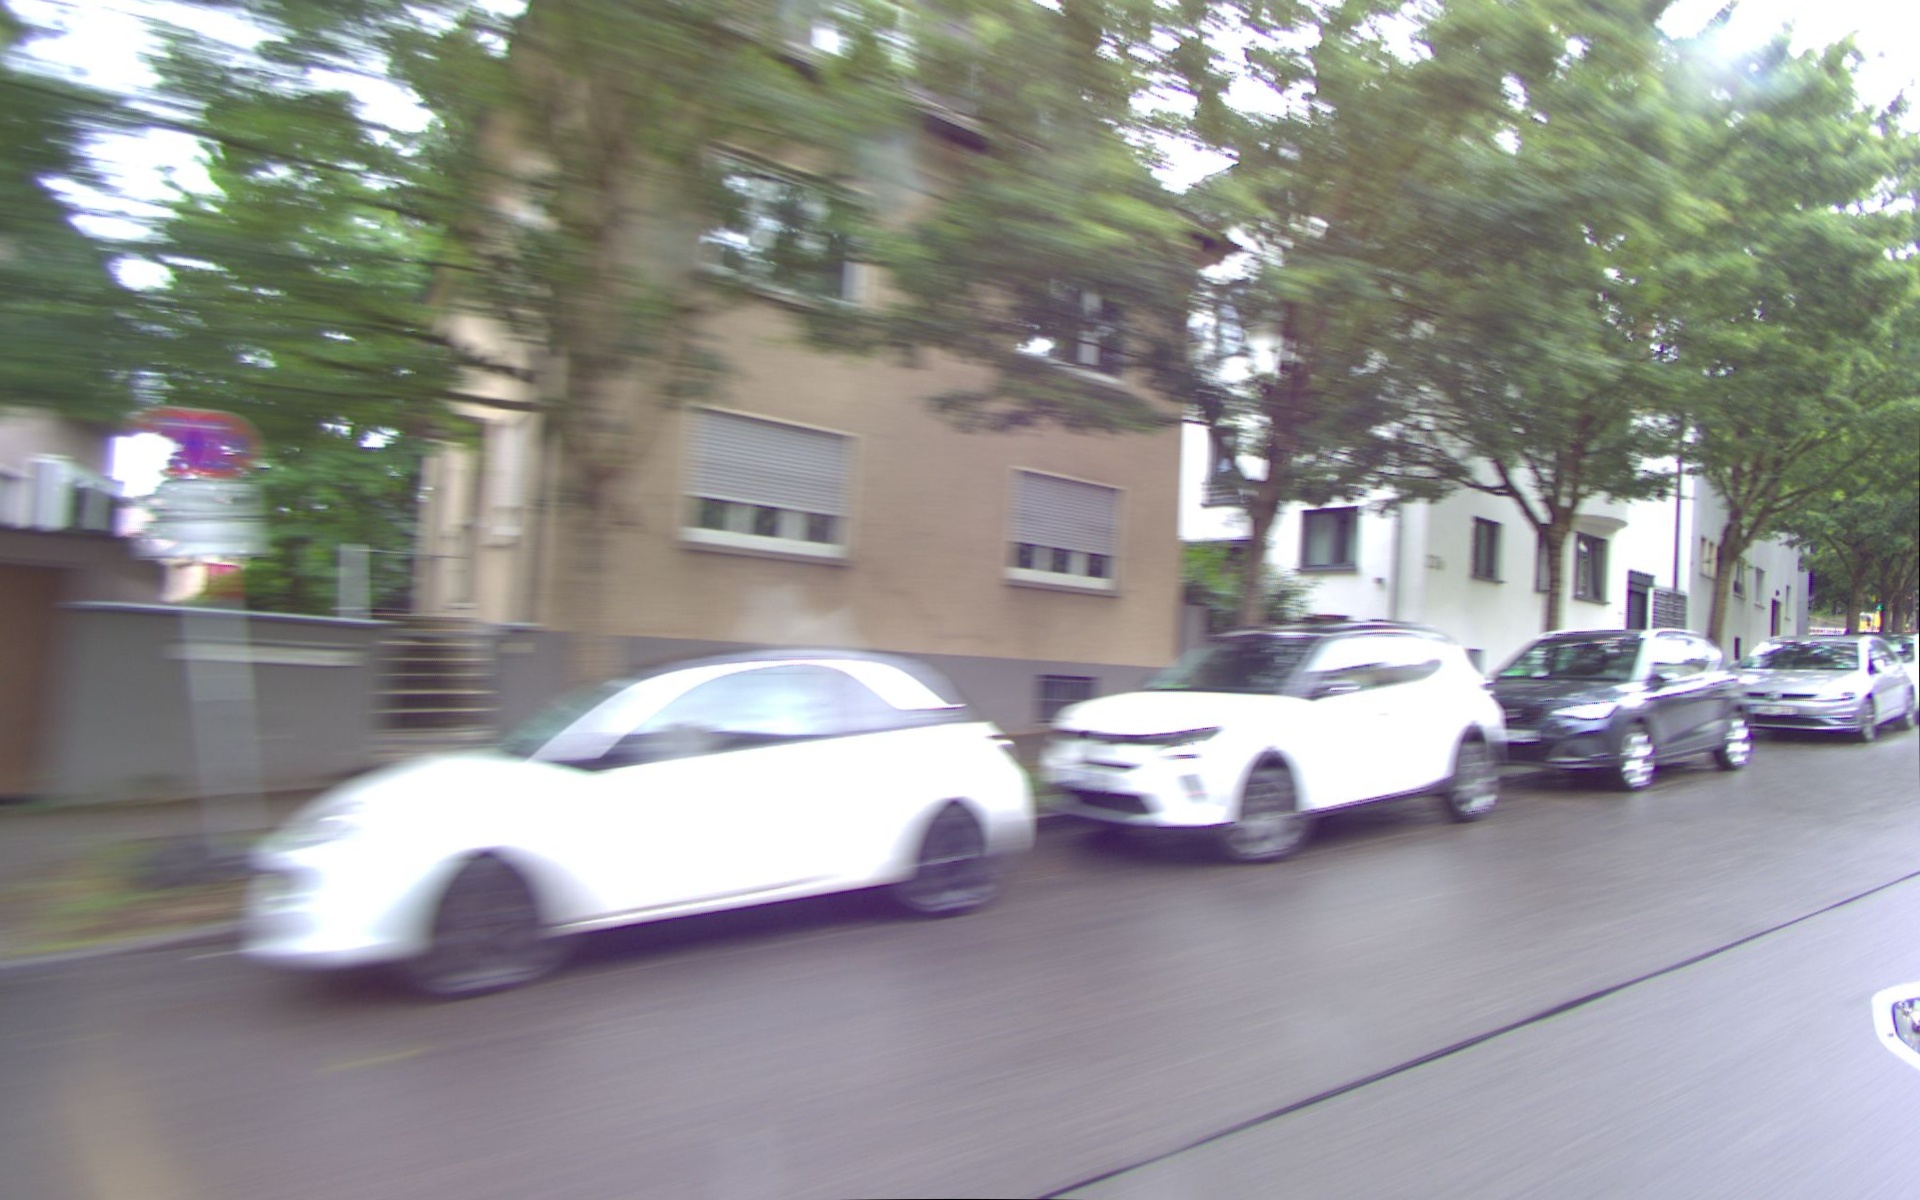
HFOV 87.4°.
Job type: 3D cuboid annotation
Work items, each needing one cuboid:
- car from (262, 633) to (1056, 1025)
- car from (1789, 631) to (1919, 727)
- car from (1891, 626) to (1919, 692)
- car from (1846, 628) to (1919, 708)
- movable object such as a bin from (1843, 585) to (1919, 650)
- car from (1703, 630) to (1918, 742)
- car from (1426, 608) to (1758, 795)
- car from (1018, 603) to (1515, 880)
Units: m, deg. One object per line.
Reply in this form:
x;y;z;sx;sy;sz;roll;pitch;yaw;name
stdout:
-1.452;0.981;5.455;3.623;1.489;1.612;1;-6;-28;car
16.027;1.315;17.565;3.438;1.508;1.563;1;-4;-37;car
23.796;1.399;24.153;3.354;1.530;1.544;2;-5;-39;car
19.833;1.372;20.551;4.434;1.507;1.653;2;-5;-37;car
61.822;1.113;65.168;2.772;4.068;7.329;1;0;3;movable object such as a bin
12.877;1.247;15.144;3.935;1.489;1.607;2;-5;-37;car
6.881;1.025;10.829;3.885;1.679;1.608;2;-5;-35;car
2.496;0.983;7.883;3.883;1.679;1.584;2;-6;-34;car
